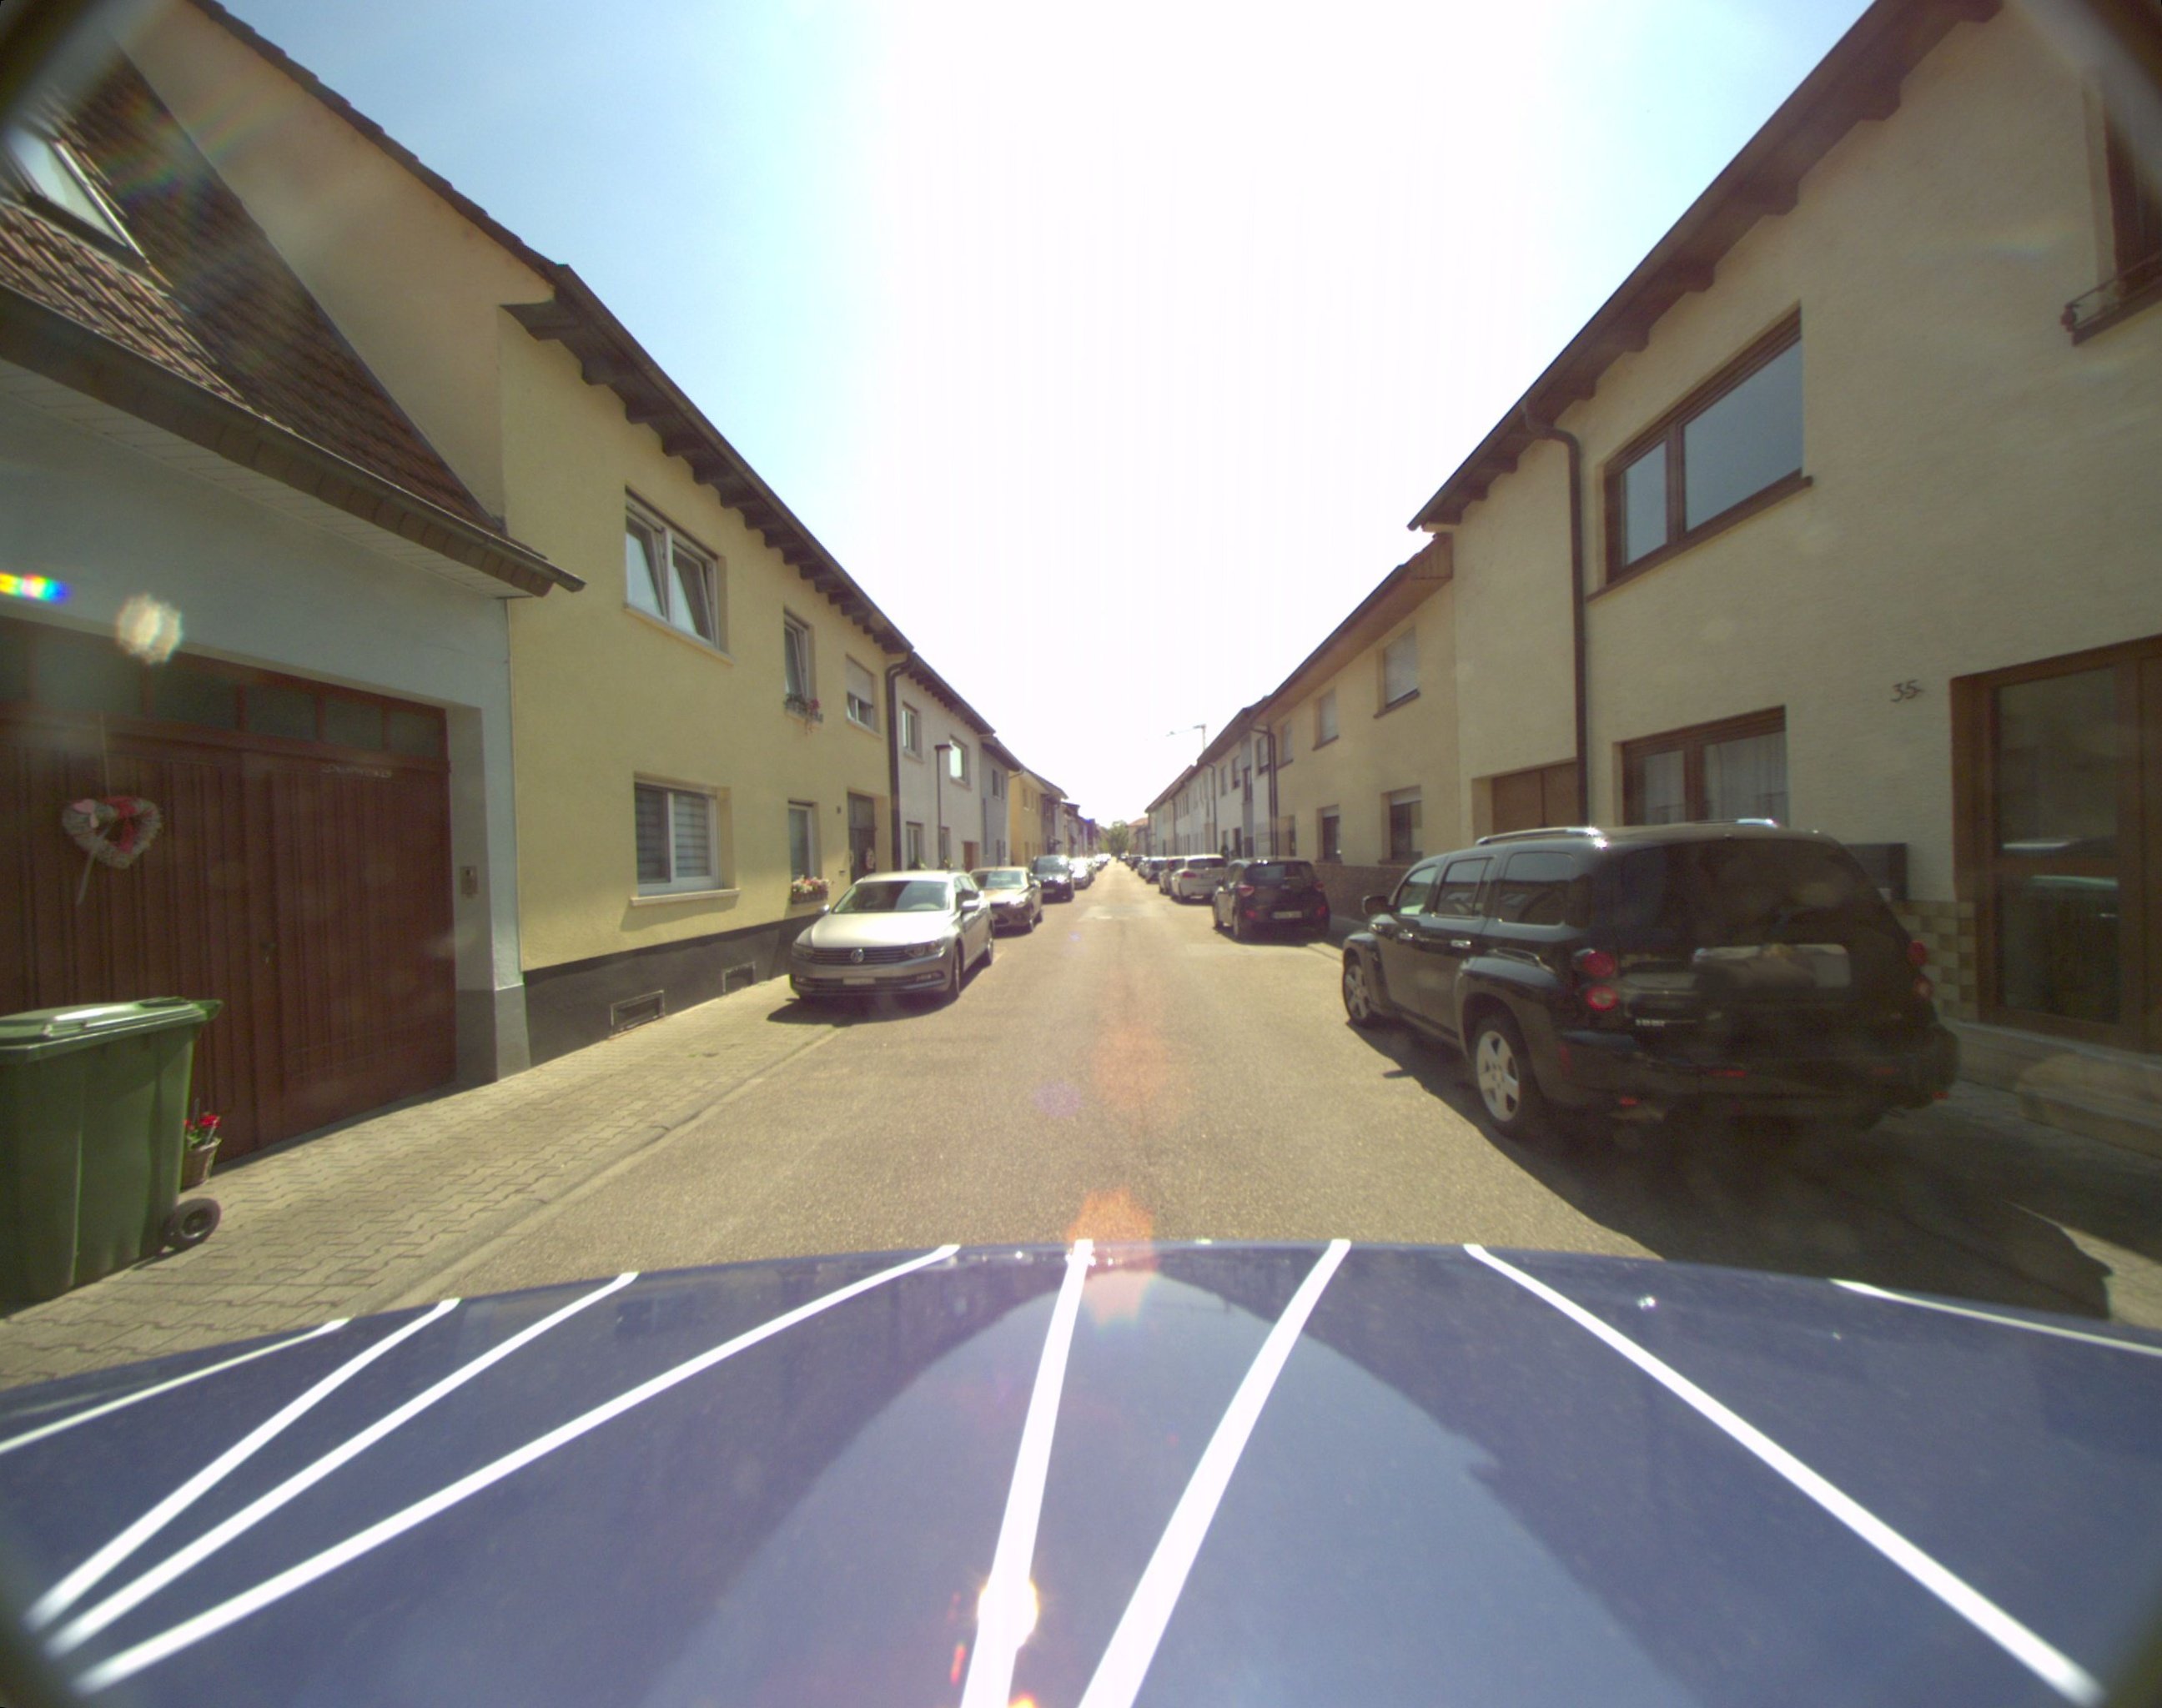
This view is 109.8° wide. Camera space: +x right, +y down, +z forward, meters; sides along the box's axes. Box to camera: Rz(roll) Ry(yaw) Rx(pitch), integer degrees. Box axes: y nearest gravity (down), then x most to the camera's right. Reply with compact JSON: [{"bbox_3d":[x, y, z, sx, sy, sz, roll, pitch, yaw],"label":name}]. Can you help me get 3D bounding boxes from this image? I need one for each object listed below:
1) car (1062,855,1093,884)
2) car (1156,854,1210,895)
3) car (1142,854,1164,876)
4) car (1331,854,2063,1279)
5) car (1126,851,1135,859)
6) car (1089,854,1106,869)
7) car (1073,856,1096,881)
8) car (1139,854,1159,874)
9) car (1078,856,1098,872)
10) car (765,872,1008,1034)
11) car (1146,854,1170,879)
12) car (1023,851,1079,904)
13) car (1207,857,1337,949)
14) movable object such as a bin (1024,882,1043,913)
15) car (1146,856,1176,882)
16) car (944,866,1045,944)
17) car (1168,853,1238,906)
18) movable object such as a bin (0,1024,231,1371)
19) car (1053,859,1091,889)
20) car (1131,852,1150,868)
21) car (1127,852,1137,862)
[{"bbox_3d":[-0.172,0.875,44.624,1.683,1.575,3.962,-2,0,1],"label":"car"},{"bbox_3d":[4.178,0.815,31.624,1.667,1.532,3.688,-3,0,0],"label":"car"},{"bbox_3d":[5.085,0.774,54.189,1.414,1.446,3.462,-1,0,4],"label":"car"},{"bbox_3d":[3.028,0.828,4.952,1.726,1.606,3.990,-1,0,4],"label":"car"},{"bbox_3d":[8.414,0.177,129.584,1.414,1.389,3.324,-1,0,3],"label":"car"},{"bbox_3d":[1.817,0.821,84.677,1.735,1.502,3.624,-3,0,3],"label":"car"},{"bbox_3d":[0.254,0.947,50.229,1.403,1.518,3.398,-3,0,2],"label":"car"},{"bbox_3d":[5.317,0.770,59.630,1.414,1.446,3.543,-1,0,4],"label":"car"},{"bbox_3d":[0.691,0.949,71.800,1.761,1.351,4.046,-3,0,2],"label":"car"},{"bbox_3d":[-2.225,1.070,10.164,1.843,1.440,4.776,-3,0,1],"label":"car"},{"bbox_3d":[4.917,0.802,48.991,1.414,1.519,3.025,-1,0,4],"label":"car"},{"bbox_3d":[-1.051,0.818,28.701,1.700,1.767,4.200,-1,1,3],"label":"car"},{"bbox_3d":[3.638,0.858,15.141,1.644,1.528,3.942,-1,0,1],"label":"car"},{"bbox_3d":[-1.456,1.334,23.386,0.551,0.886,0.579,-2,1,-4],"label":"movable object such as a bin"},{"bbox_3d":[4.628,0.861,44.158,1.606,1.434,3.214,-1,0,3],"label":"car"},{"bbox_3d":[-1.851,1.071,17.521,1.701,1.427,4.103,-3,0,1],"label":"car"},{"bbox_3d":[4.097,0.812,26.097,1.667,1.540,3.942,-3,1,0],"label":"car"},{"bbox_3d":[-4.160,1.303,2.993,0.660,1.065,0.813,-2,0,1],"label":"movable object such as a bin"},{"bbox_3d":[-0.414,0.983,39.299,1.666,1.406,4.248,-1,0,2],"label":"car"},{"bbox_3d":[6.358,0.642,81.452,1.818,1.598,3.887,-1,0,2],"label":"car"},{"bbox_3d":[8.156,0.505,121.724,1.414,1.582,3.324,-1,0,3],"label":"car"}]
